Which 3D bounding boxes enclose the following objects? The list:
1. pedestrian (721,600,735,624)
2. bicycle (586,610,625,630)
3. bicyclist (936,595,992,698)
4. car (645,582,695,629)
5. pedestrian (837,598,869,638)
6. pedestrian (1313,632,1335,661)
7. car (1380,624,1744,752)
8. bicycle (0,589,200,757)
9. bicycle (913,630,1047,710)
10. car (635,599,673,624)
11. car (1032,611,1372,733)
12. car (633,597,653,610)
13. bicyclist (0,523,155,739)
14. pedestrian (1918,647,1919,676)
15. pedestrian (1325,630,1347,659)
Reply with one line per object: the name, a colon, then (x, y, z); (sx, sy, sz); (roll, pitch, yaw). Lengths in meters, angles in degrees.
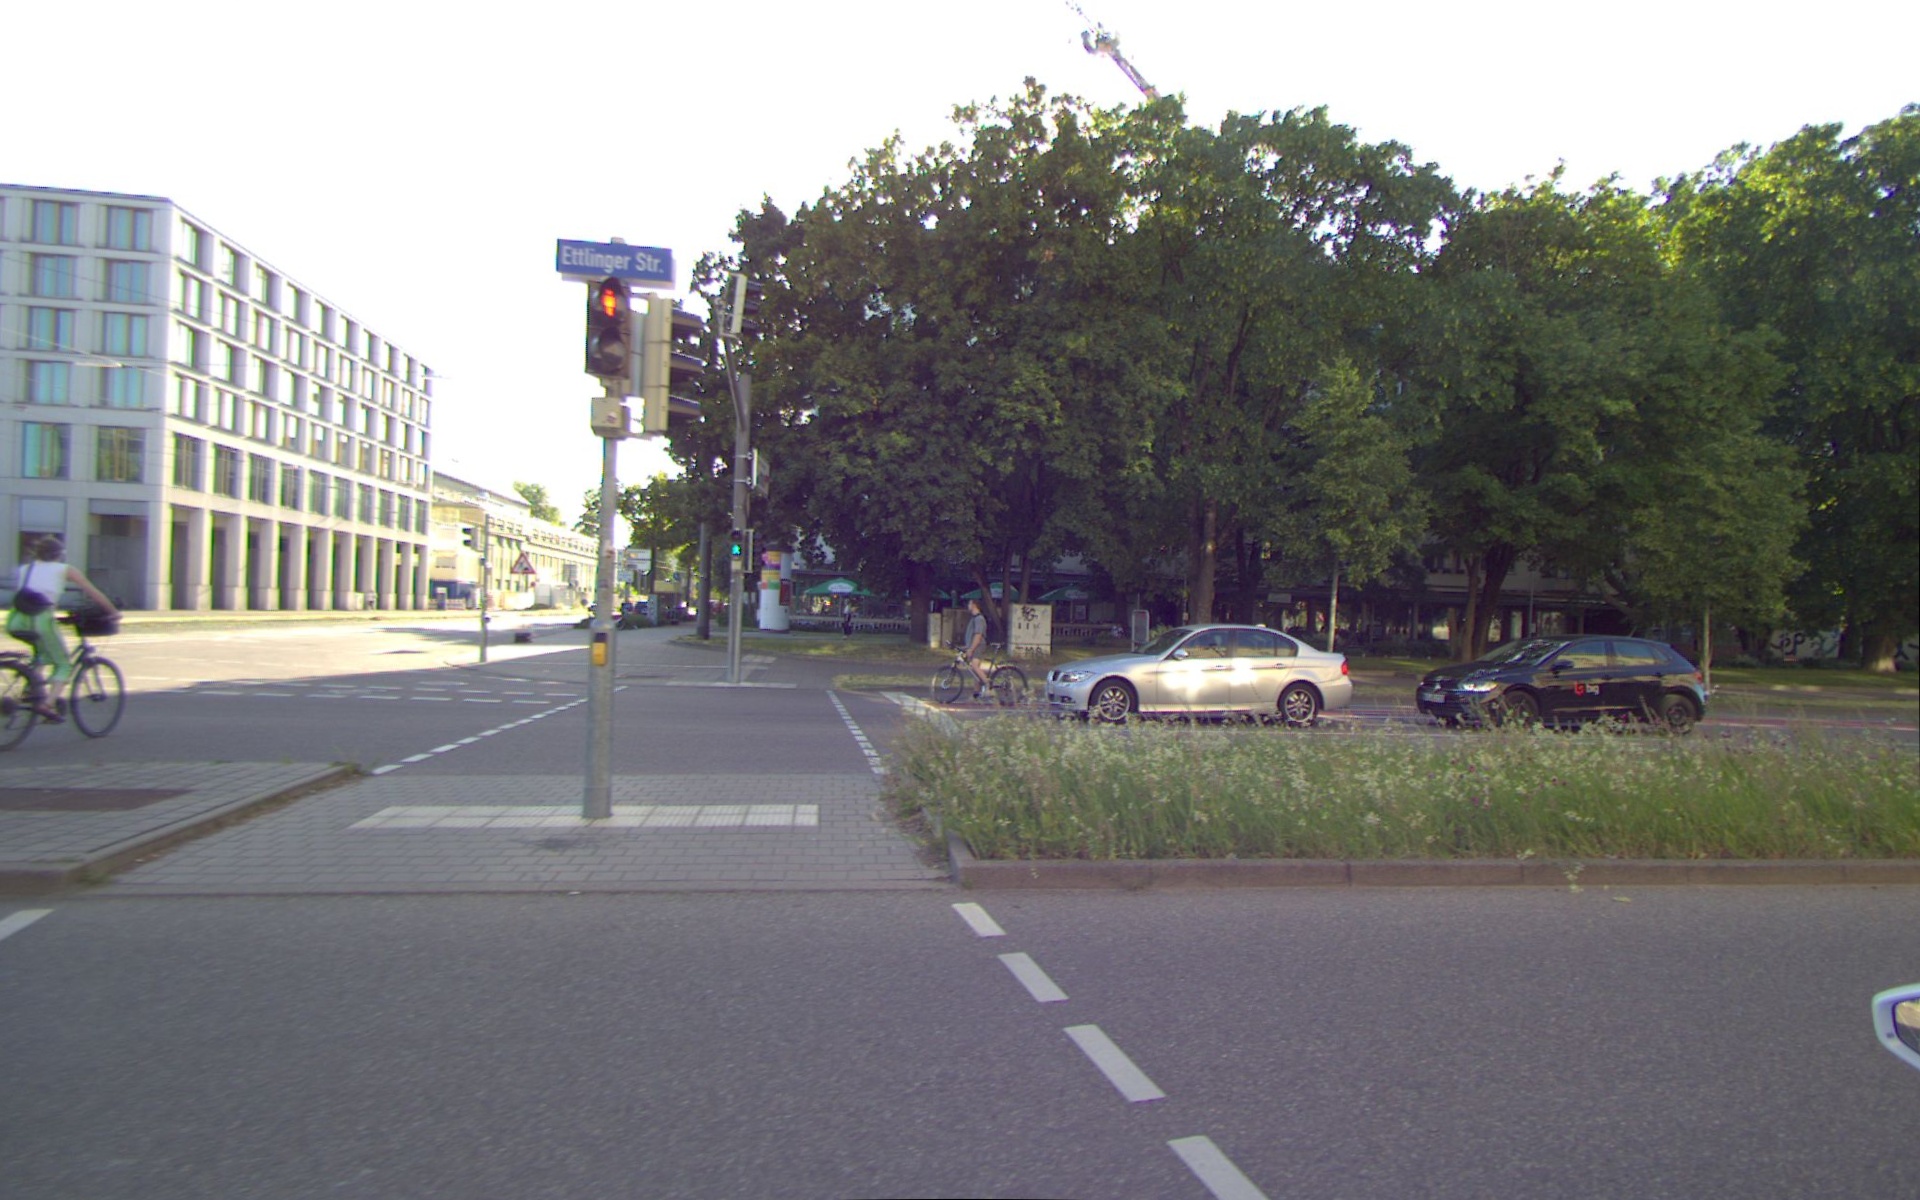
pedestrian: (-17.724, 0.923, 76.719); (0.774, 1.763, 0.888); (2, -1, -27)
bicycle: (-16.296, 0.921, 46.217); (1.580, 0.900, 0.768); (2, -1, -16)
bicyclist: (0.084, 0.791, 17.250); (0.822, 1.701, 0.784); (2, -2, 7)
car: (-19.620, 0.363, 68.155); (2.553, 2.991, 5.080); (2, -1, -10)
pedestrian: (-4.798, 0.805, 45.225); (1.190, 1.763, 0.895); (2, -1, 8)
pedestrian: (17.652, 2.234, 48.770); (0.652, 1.357, 0.908); (2, -1, -4)
car: (9.050, 1.293, 15.302); (4.465, 1.698, 1.998); (2, -1, -7)
bicycle: (-7.708, 0.562, 8.625); (0.764, 1.256, 2.310); (3, -2, -7)
bicycle: (0.359, 1.177, 17.207); (2.203, 1.256, 0.779); (1, -1, 7)
car: (-18.825, 0.725, 61.872); (1.672, 1.447, 3.993); (2, -1, -10)
car: (3.473, 1.028, 14.892); (4.465, 1.581, 1.998); (2, -1, -7)
car: (-42.957, 0.470, 136.096); (1.964, 1.661, 3.993); (2, -1, -10)
bicyclist: (-7.678, 0.262, 8.584); (0.761, 1.712, 0.924); (3, -2, -7)
pedestrian: (51.713, 3.282, 53.338); (0.879, 1.560, 0.902); (2, -1, -14)
pedestrian: (18.270, 2.143, 48.853); (0.702, 1.357, 0.829); (2, -1, -4)
